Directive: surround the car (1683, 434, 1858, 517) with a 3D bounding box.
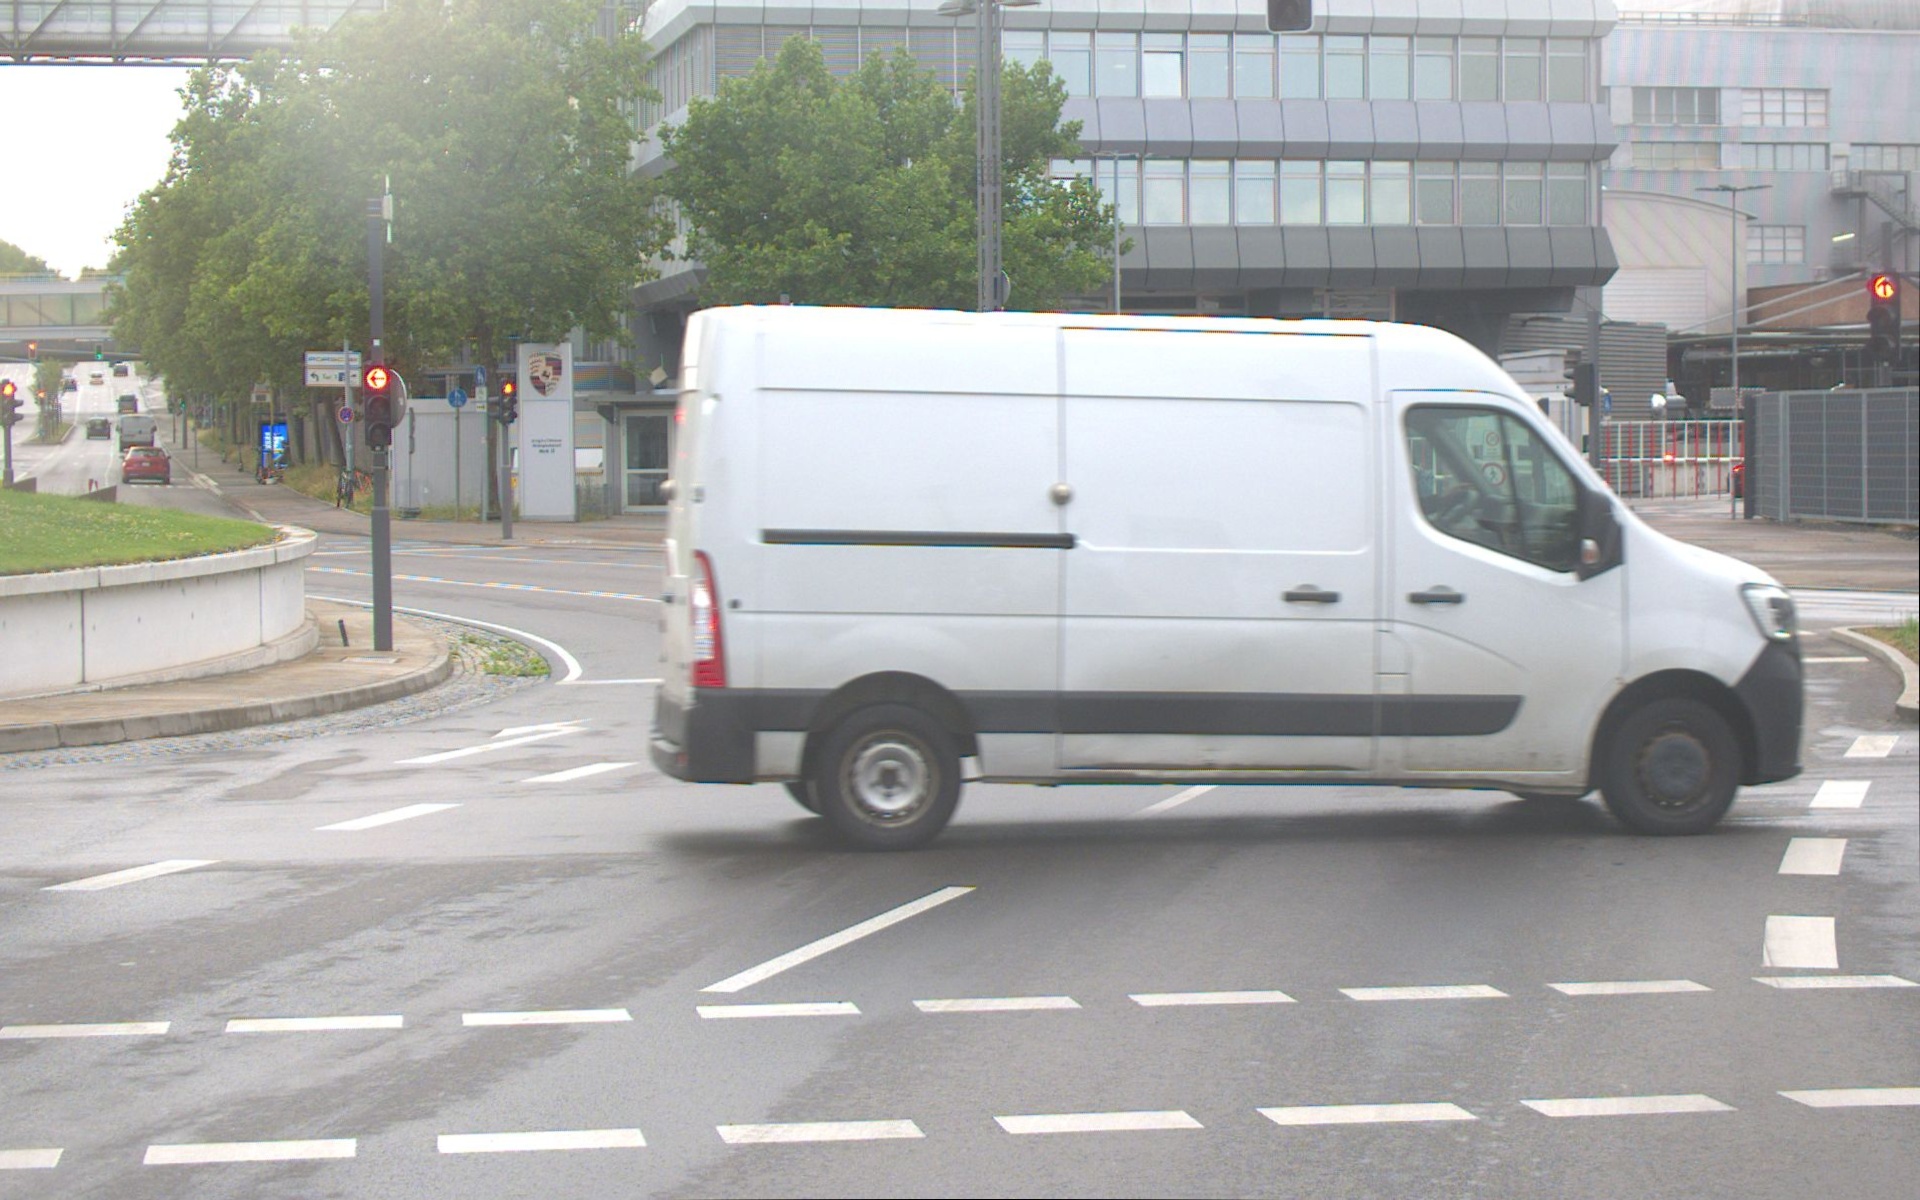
[{"bbox_3d":[19.926,-3.059,84.401,1.999,1.962,4.882,1,2,44],"label":"car"}]

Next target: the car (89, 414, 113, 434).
[{"bbox_3d":[-61.408,-12.589,245.737,1.556,1.284,3.415,-1,0,-15],"label":"car"}]

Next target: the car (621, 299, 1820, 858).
[{"bbox_3d":[1.149,-0.153,16.504,5.407,2.438,2.001,-1,2,-8],"label":"car"}]

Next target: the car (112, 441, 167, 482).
[{"bbox_3d":[-31.643,-5.324,132.576,1.772,1.459,3.734,-1,0,-18],"label":"car"}]

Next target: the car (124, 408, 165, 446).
[{"bbox_3d":[-49.768,-10.551,209.817,2.232,2.100,4.956,-1,0,-11],"label":"car"}]
